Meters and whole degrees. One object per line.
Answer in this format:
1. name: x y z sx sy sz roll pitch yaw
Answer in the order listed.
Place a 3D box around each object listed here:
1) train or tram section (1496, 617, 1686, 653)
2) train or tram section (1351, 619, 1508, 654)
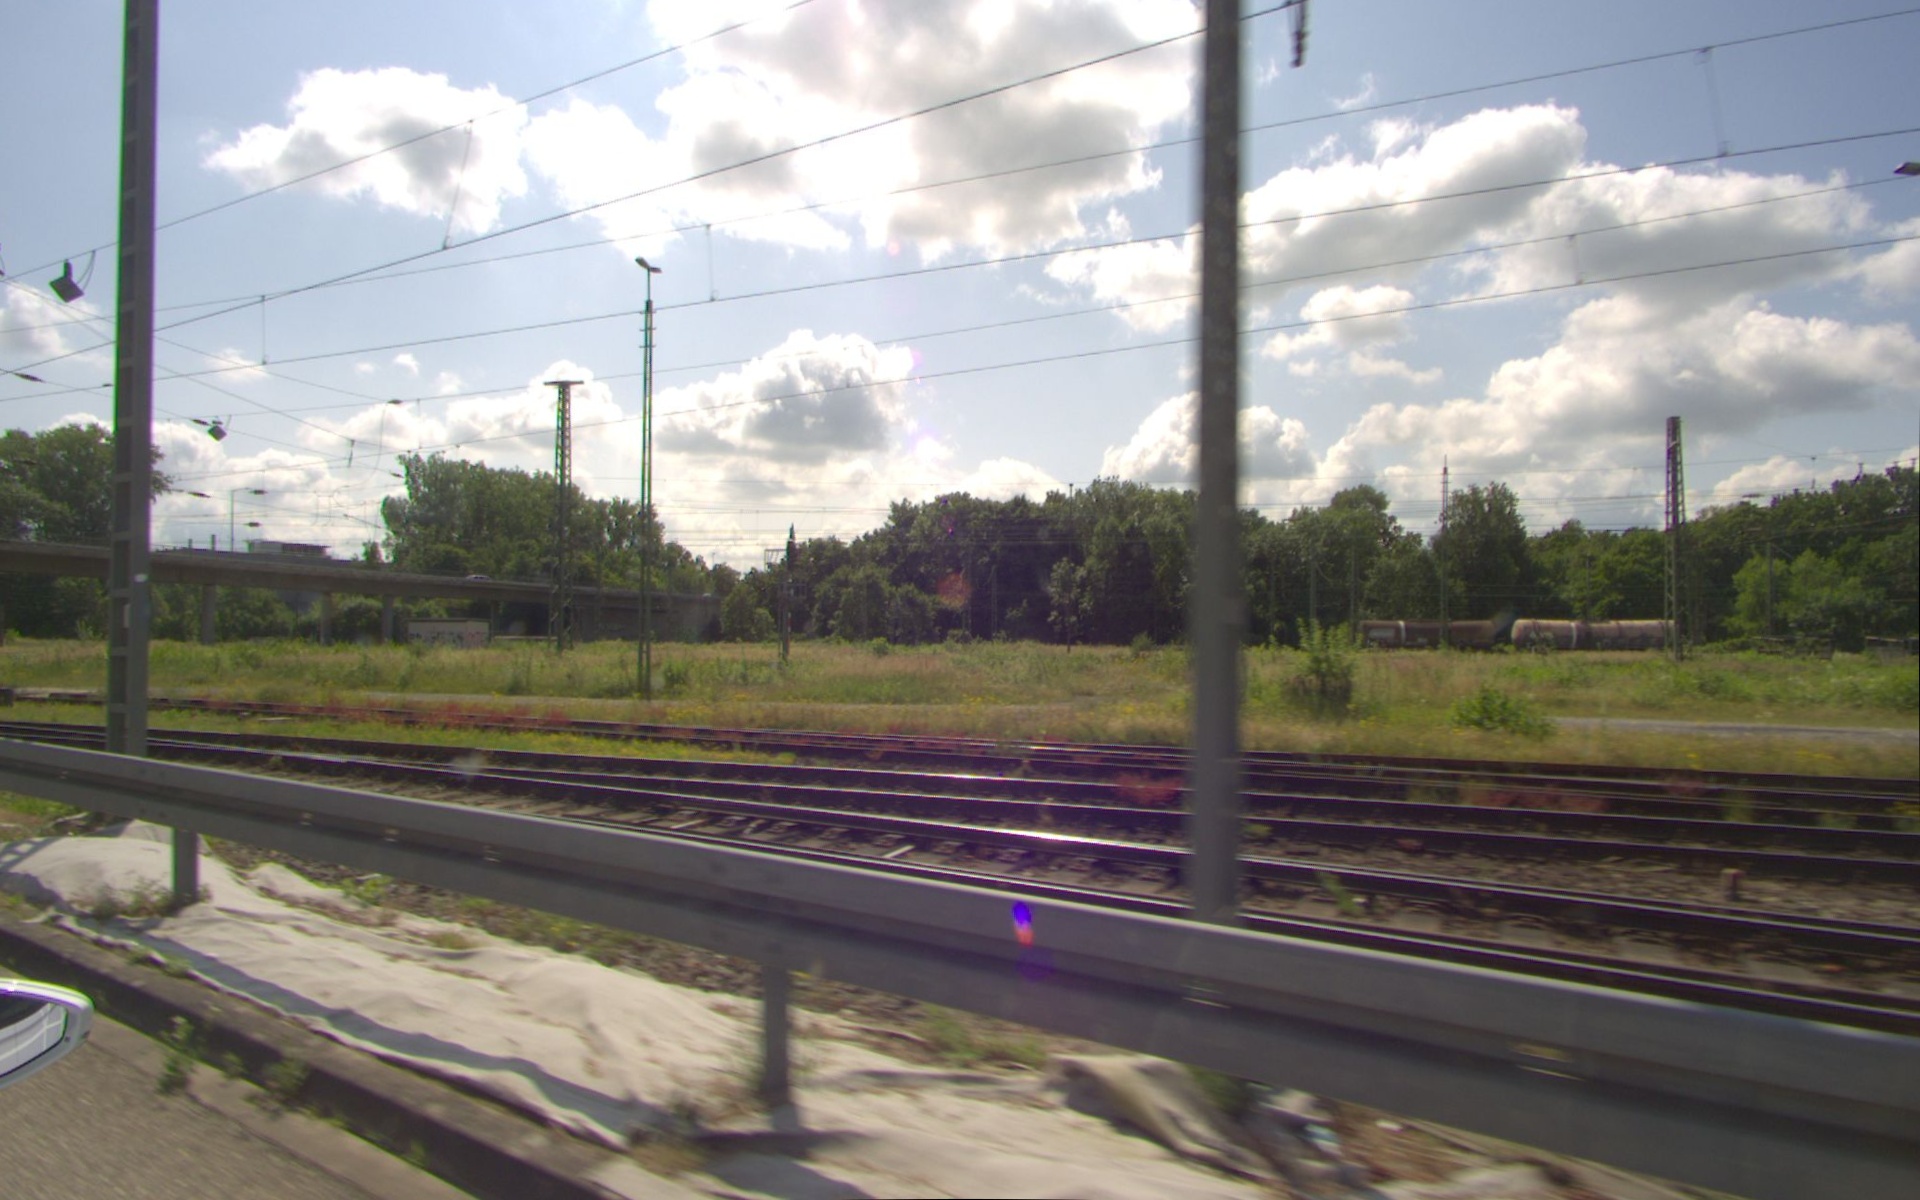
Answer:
1. train or tram section: 60.656 3.429 96.714 15.458 3.347 3.035 -1 -2 10
2. train or tram section: 46.247 3.609 99.136 13.673 3.347 3.035 -1 -2 10
